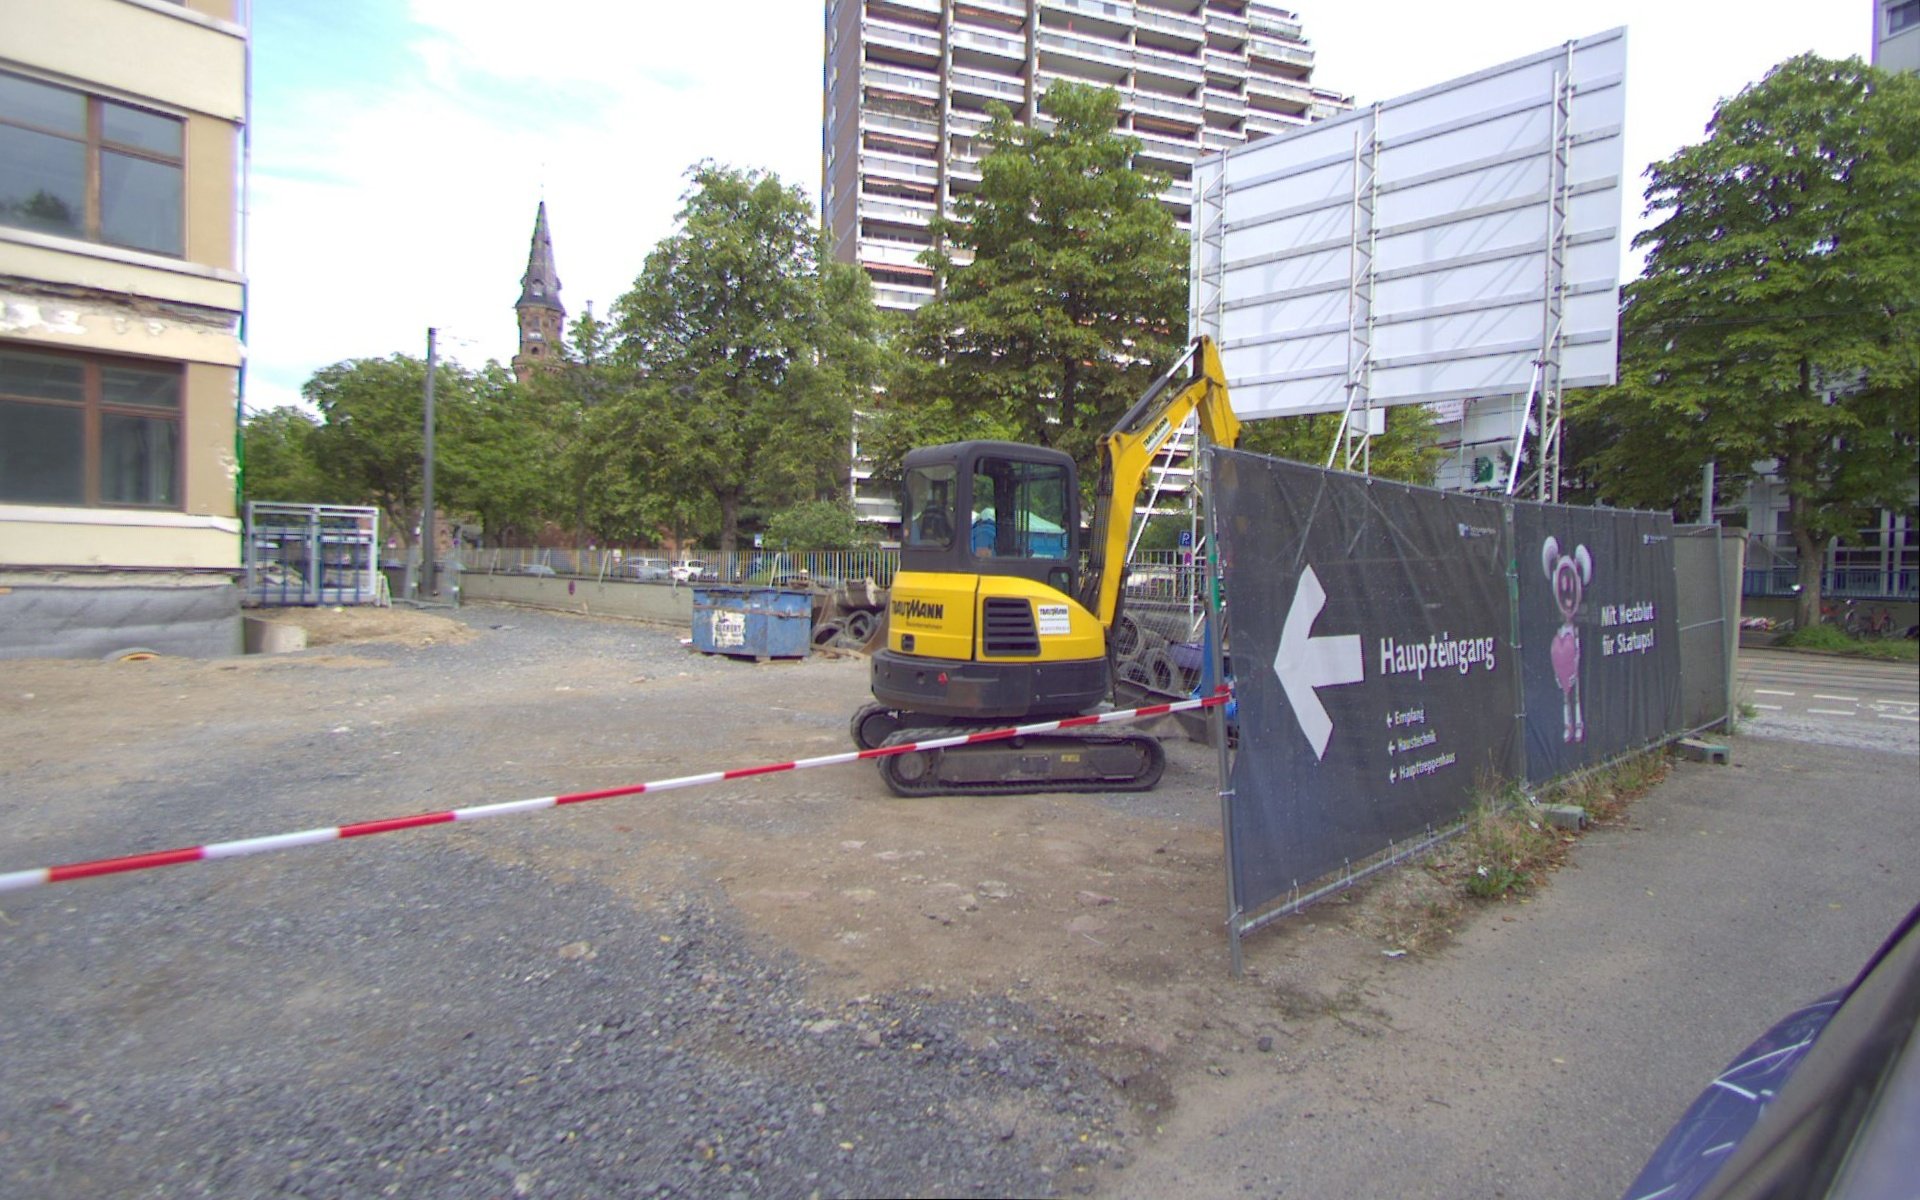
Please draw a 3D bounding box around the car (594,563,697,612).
[{"bbox_3d":[-10.703,-0.442,34.306,3.951,1.515,1.615,3,2,44],"label":"car"}]

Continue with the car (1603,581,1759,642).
[{"bbox_3d":[18.752,0.239,26.523,1.652,1.437,3.642,1,1,5],"label":"car"}]

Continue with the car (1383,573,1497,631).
[{"bbox_3d":[14.535,0.012,30.865,1.650,1.622,3.648,1,1,-1],"label":"car"}]

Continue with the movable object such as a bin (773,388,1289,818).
[{"bbox_3d":[0.498,-0.015,7.712,3.003,2.473,2.498,0,1,-35],"label":"movable object such as a bin"}]

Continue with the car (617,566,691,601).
[{"bbox_3d":[-16.071,-0.884,53.044,1.788,1.722,4.606,0,2,-44],"label":"car"}]

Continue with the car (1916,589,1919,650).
[{"bbox_3d":[23.557,0.519,21.772,1.780,1.433,4.175,1,1,-5],"label":"car"}]

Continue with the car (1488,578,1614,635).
[{"bbox_3d":[16.690,0.126,28.772,1.652,1.493,3.642,1,1,5],"label":"car"}]

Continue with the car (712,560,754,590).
[{"bbox_3d":[-13.077,-1.439,58.507,1.650,1.622,3.648,1,1,-1],"label":"car"}]

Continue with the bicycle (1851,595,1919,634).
[{"bbox_3d":[26.211,0.408,28.615,1.936,1.056,0.596,1,1,-18],"label":"bicycle"}]

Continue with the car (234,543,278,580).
[{"bbox_3d":[-55.205,-3.049,79.301,5.452,2.737,1.699,3,1,43],"label":"car"}]

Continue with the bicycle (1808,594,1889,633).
[{"bbox_3d":[25.846,0.392,29.446,1.937,1.056,0.596,1,1,-8],"label":"bicycle"}]

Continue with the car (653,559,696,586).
[{"bbox_3d":[-17.833,-1.702,63.333,1.650,1.622,3.648,1,1,-1],"label":"car"}]
